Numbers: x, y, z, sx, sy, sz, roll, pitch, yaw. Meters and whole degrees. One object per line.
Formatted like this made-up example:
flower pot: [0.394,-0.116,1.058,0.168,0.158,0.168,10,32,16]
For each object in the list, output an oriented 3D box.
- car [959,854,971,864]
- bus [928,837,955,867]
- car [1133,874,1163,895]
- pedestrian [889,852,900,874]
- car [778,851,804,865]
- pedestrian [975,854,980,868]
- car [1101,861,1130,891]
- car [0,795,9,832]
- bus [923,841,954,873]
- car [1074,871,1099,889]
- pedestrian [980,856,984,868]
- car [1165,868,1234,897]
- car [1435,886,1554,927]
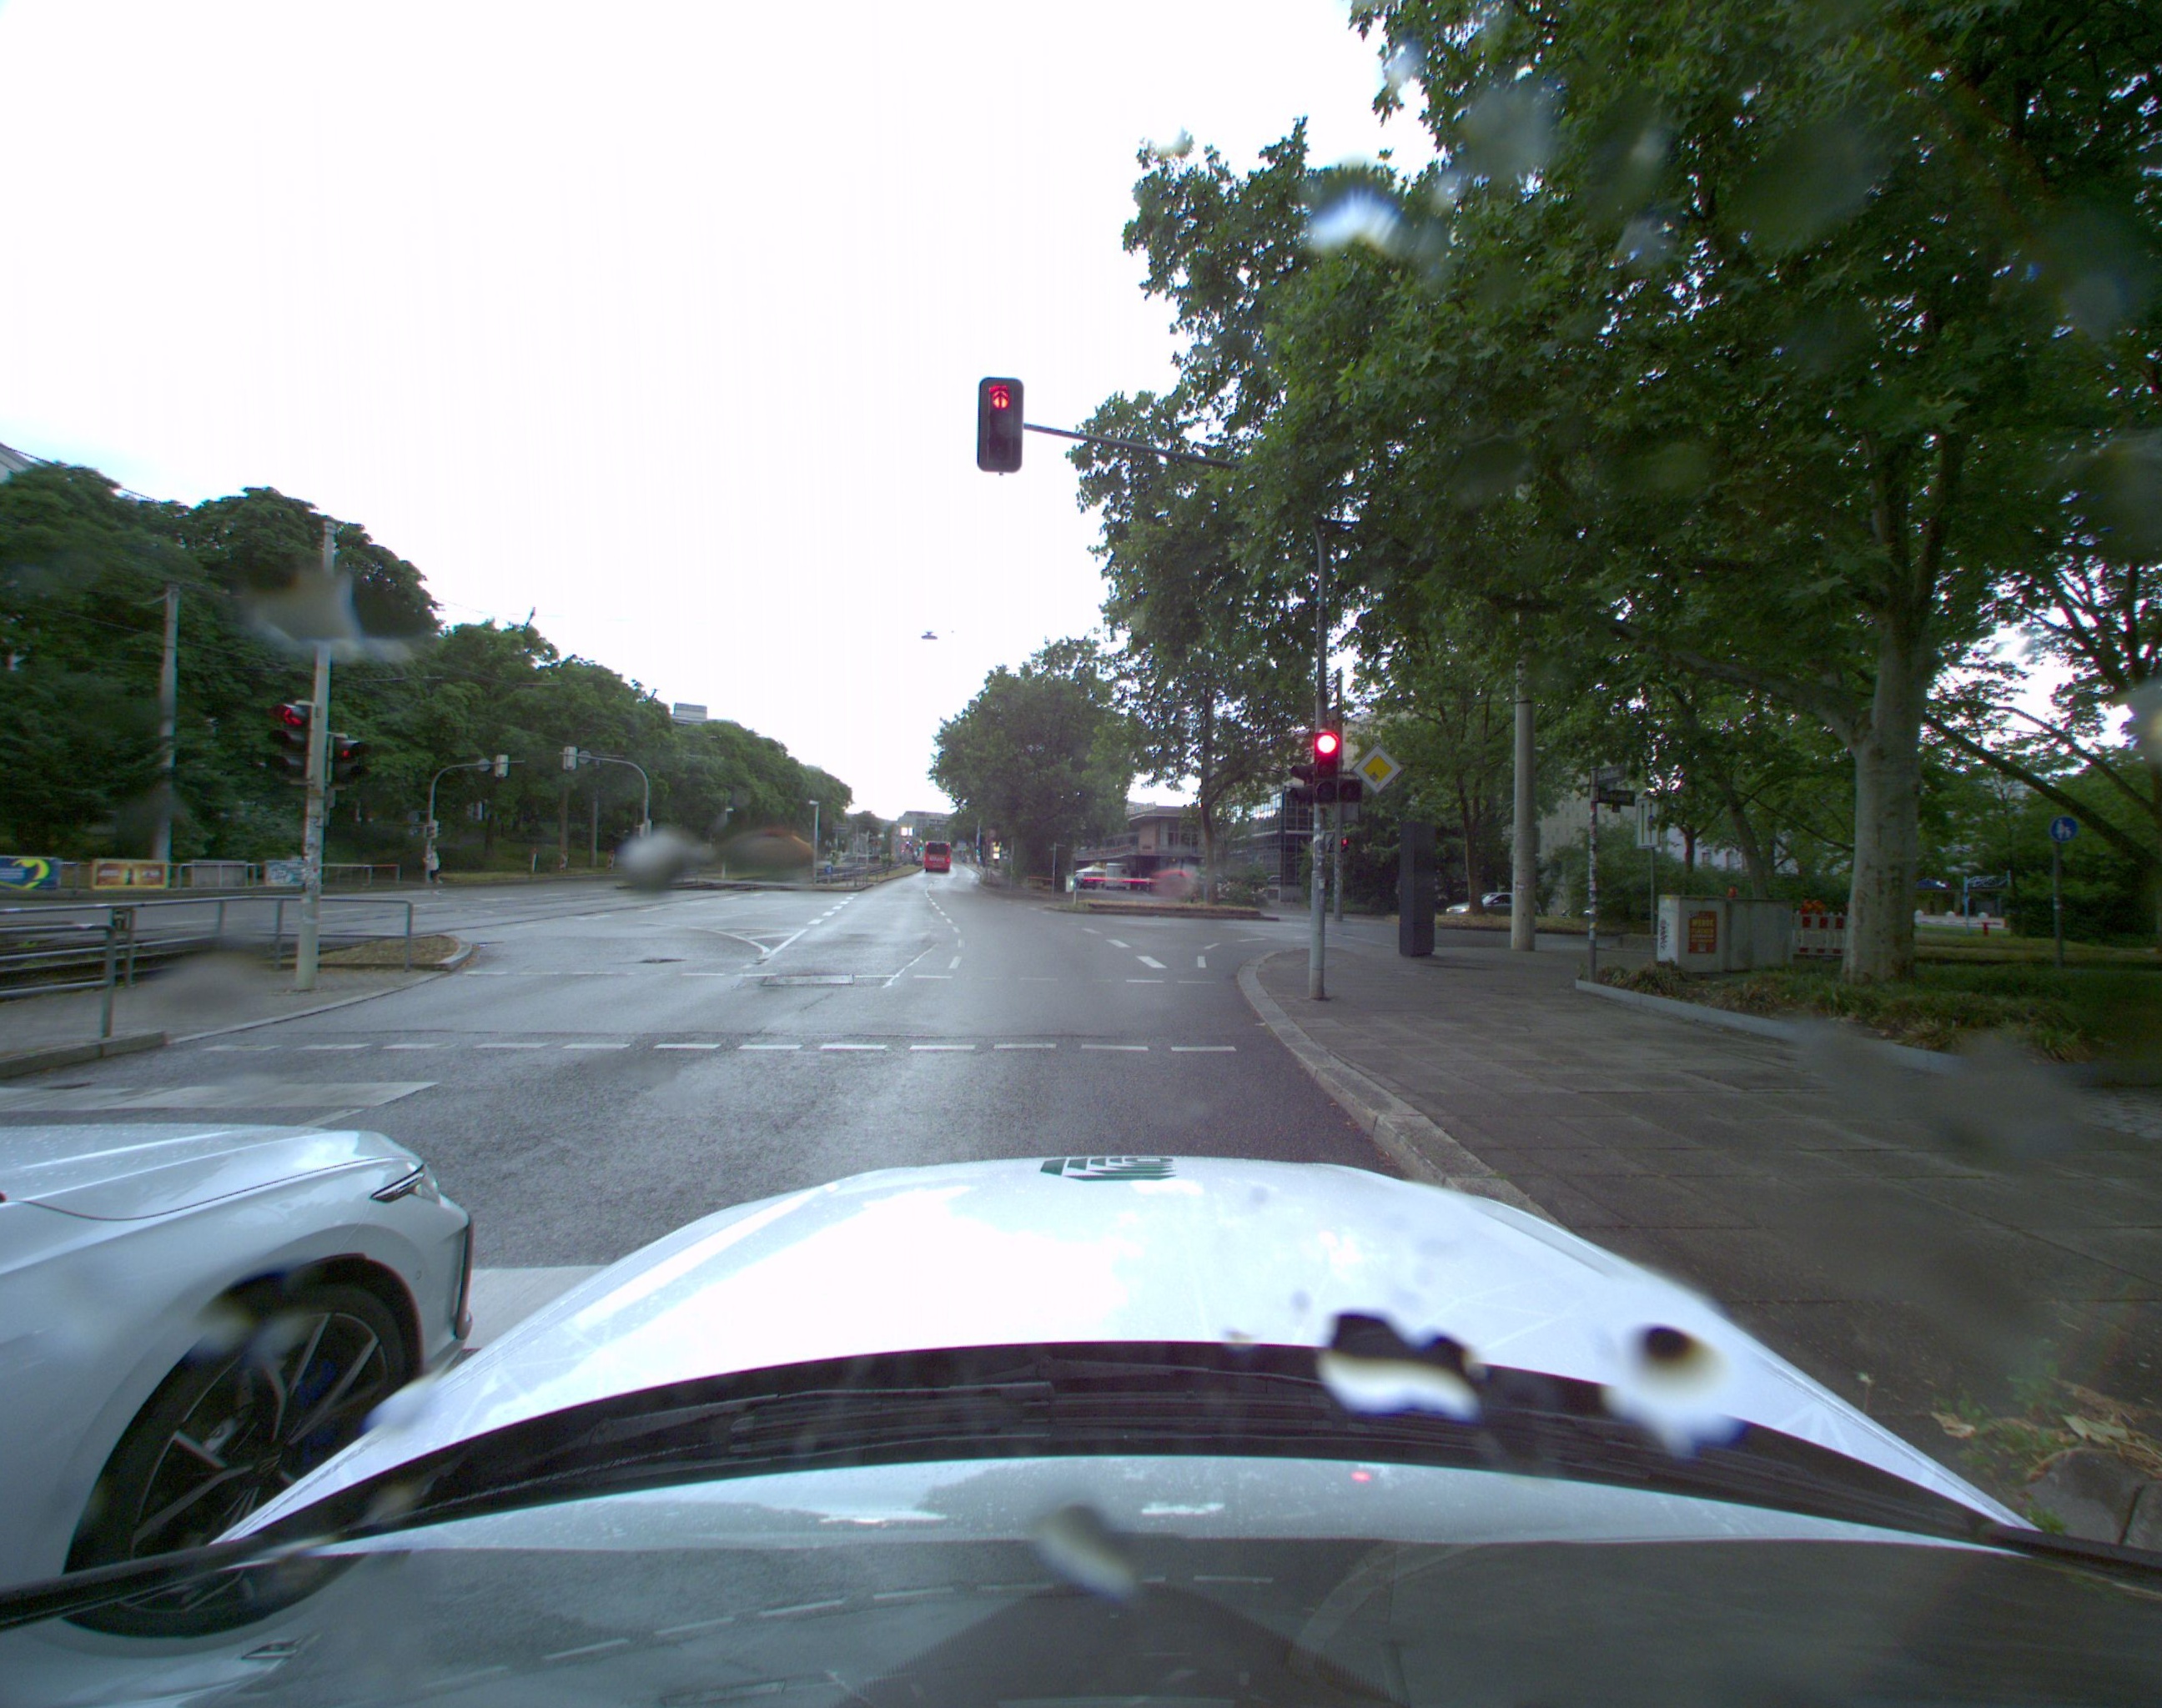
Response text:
car: [-21.695,0.965,152.065,1.995,1.684,3.984,3,-2,-12]
bus: [-15.974,-0.101,93.757,2.548,3.111,9.429,3,-1,-8]
car: [6.898,3.118,84.396,1.994,2.014,3.985,3,-2,-10]
pedestrian: [-14.377,0.687,62.720,0.739,1.640,0.866,3,-2,-14]
car: [-33.354,0.473,93.670,1.992,1.519,3.989,2,0,-8]
pedestrian: [-13.137,0.913,103.373,0.370,1.708,0.644,2,-1,2]
car: [3.769,2.400,90.594,2.539,3.134,5.024,3,-2,-3]
car: [-52.929,-2.015,37.880,2.005,1.794,4.172,4,-2,-28]
bus: [-14.972,0.390,86.071,2.653,3.111,9.160,3,-1,-7]
car: [0.523,2.798,88.041,1.993,1.860,3.987,3,-2,-9]
pedestrian: [-12.619,1.003,103.545,0.370,1.525,0.344,2,-1,1]
car: [9.043,2.150,61.963,4.762,1.943,1.986,3,-2,-20]
car: [17.324,2.194,34.214,3.980,1.442,1.997,3,-2,-5]
